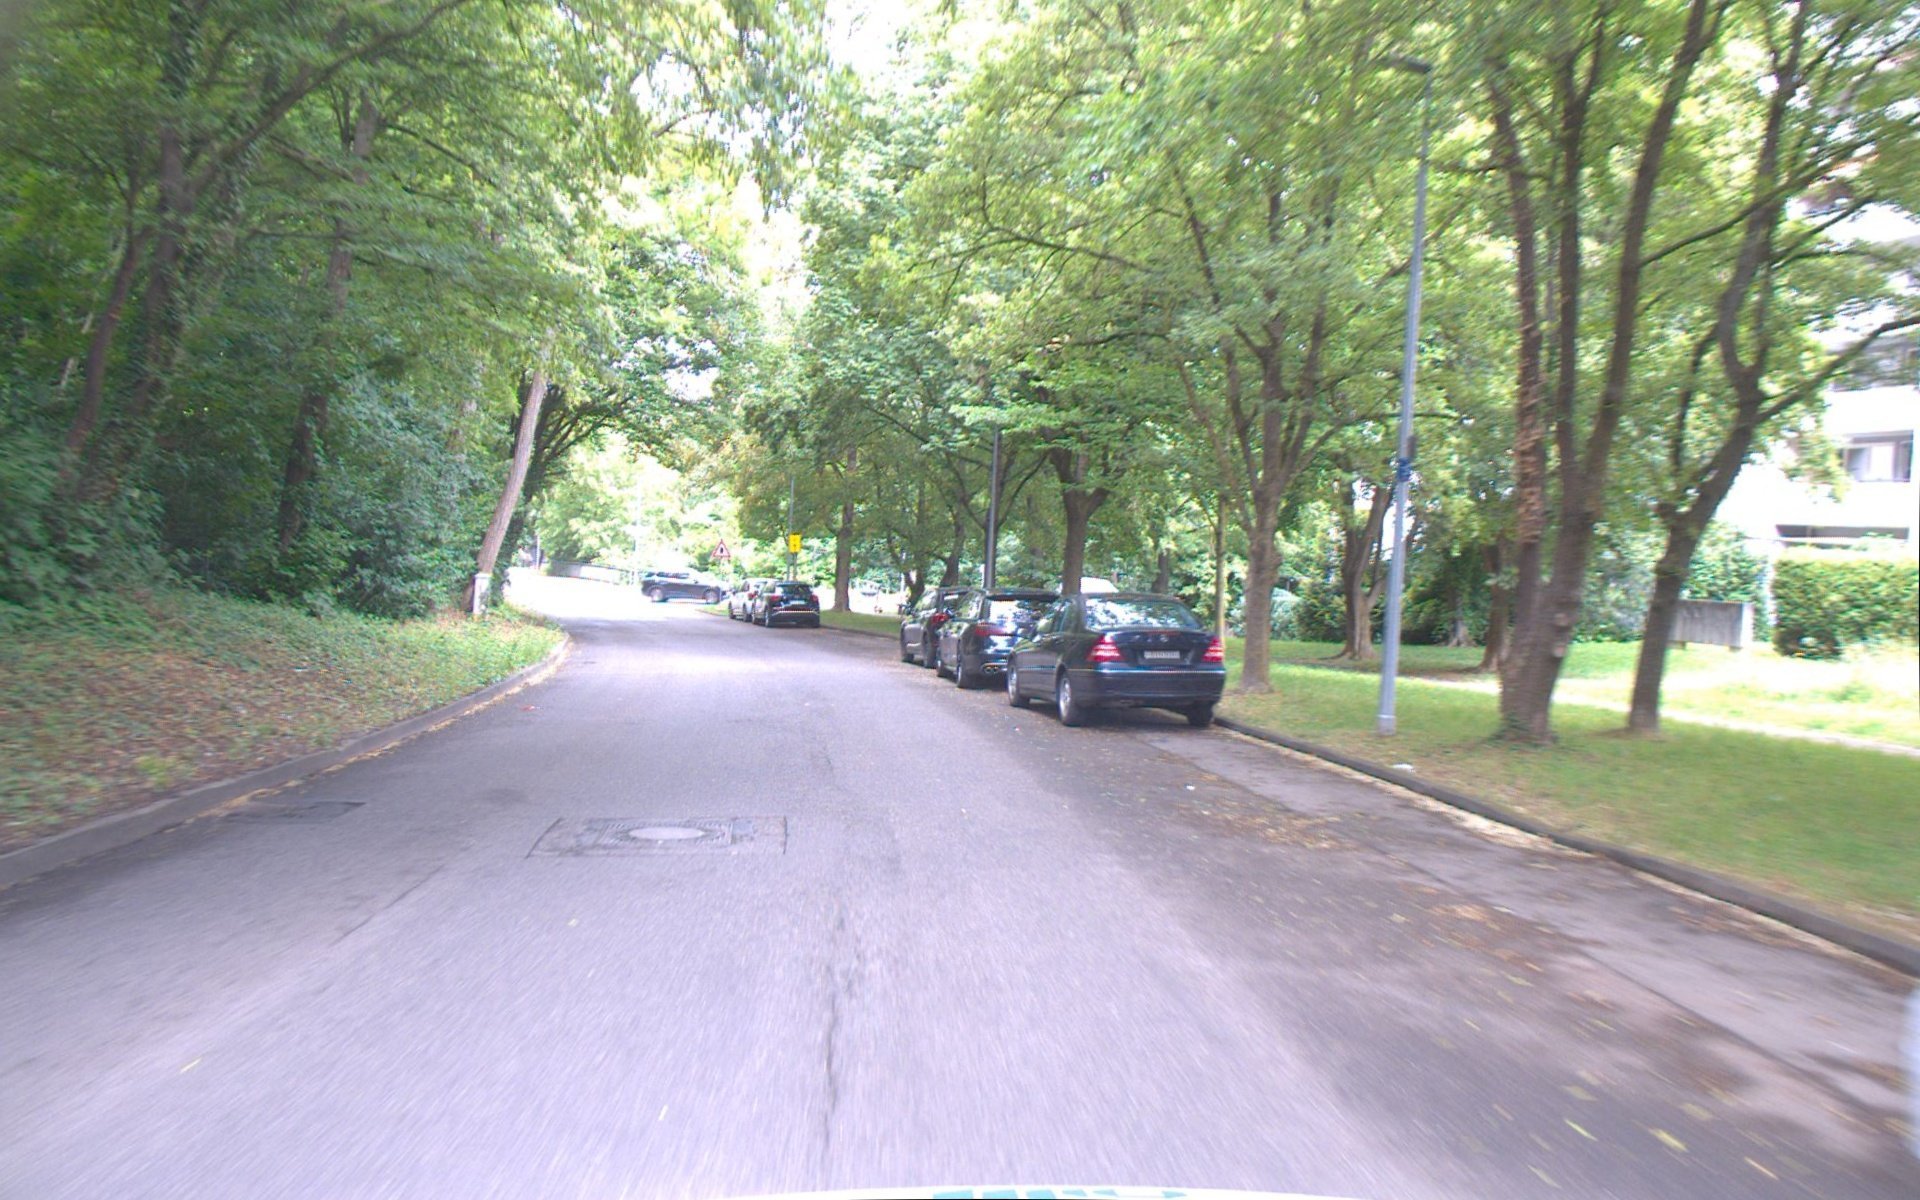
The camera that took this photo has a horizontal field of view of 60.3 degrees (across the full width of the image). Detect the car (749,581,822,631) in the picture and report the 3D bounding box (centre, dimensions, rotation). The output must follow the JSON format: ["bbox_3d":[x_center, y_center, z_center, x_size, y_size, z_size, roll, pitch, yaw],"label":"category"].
[{"bbox_3d":[-5.905,0.163,55.597,1.745,1.549,4.166,2,1,-16],"label":"car"}]

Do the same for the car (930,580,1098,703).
[{"bbox_3d":[0.711,0.552,25.241,1.877,1.640,4.728,2,1,-6],"label":"car"}]

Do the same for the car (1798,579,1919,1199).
[{"bbox_3d":[3.039,0.754,2.078,1.655,1.508,4.103,2,1,-4],"label":"car"}]

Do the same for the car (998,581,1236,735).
[{"bbox_3d":[1.659,0.572,18.982,1.560,1.491,4.306,2,1,-11],"label":"car"}]

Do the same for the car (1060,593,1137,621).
[{"bbox_3d":[8.107,0.404,96.789,4.133,1.525,1.794,2,0,-13],"label":"car"}]

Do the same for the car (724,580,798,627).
[{"bbox_3d":[-7.224,0.101,59.791,1.748,1.549,3.757,2,1,-21],"label":"car"}]

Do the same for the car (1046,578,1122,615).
[{"bbox_3d":[7.447,-0.227,99.708,4.133,2.049,1.994,2,0,-13],"label":"car"}]

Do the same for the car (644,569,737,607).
[{"bbox_3d":[-13.015,-0.586,79.910,4.135,1.715,1.799,2,0,0],"label":"car"}]

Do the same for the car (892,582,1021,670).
[{"bbox_3d":[-0.127,0.437,30.948,1.652,1.490,3.887,2,1,-12],"label":"car"}]

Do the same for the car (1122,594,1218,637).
[{"bbox_3d":[10.320,0.768,81.587,4.315,1.880,1.828,2,1,-10],"label":"car"}]

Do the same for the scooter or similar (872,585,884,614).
[{"bbox_3d":[-3.881,-0.022,77.882,0.278,1.309,1.103,2,1,-16],"label":"scooter or similar"}]
